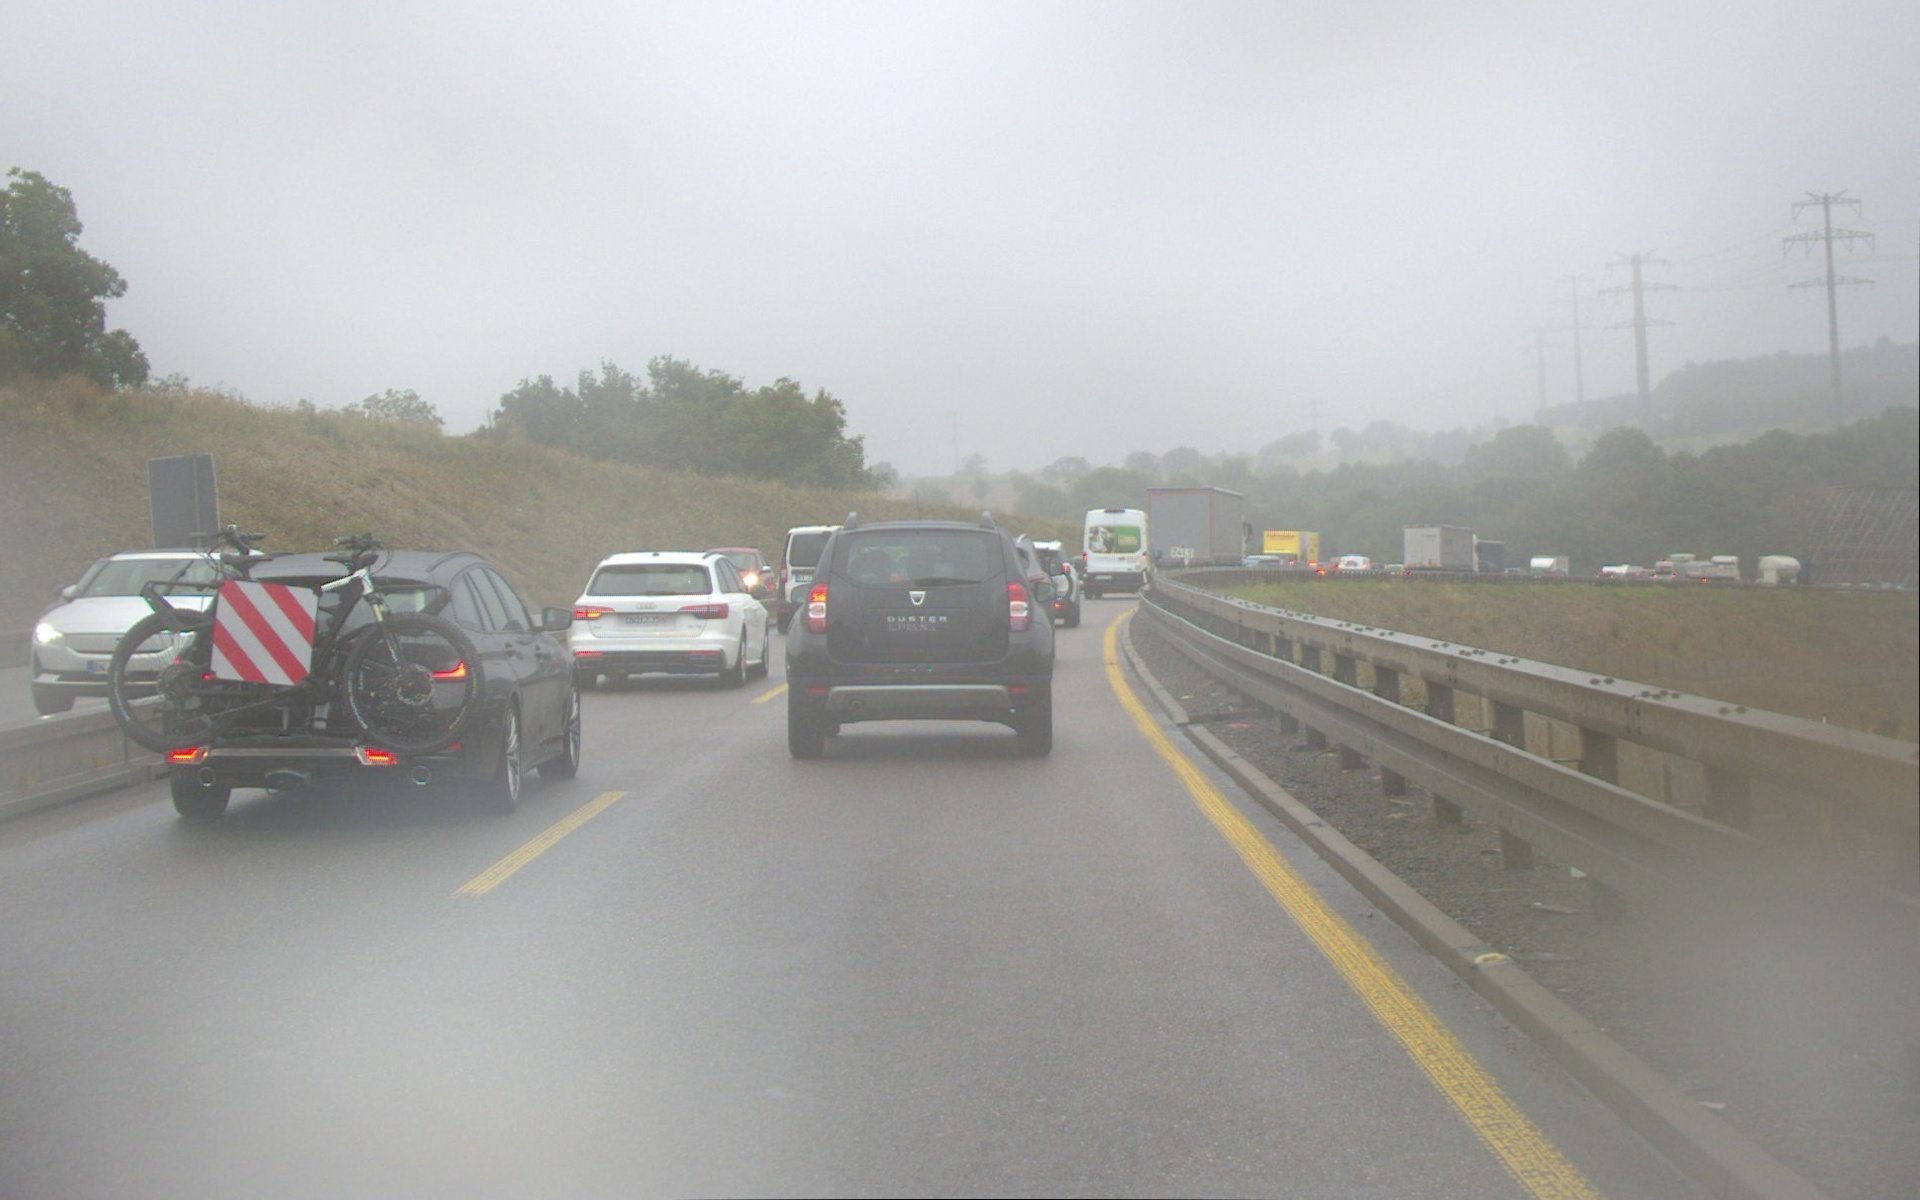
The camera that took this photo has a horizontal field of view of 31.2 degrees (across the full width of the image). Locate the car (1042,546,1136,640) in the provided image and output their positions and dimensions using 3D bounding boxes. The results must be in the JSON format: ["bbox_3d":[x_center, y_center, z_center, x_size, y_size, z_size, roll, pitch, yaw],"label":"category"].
[{"bbox_3d":[2.306,-0.150,62.339,1.530,1.635,4.013,1,1,0],"label":"car"}]

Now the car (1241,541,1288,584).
[{"bbox_3d":[13.879,-1.710,156.594,1.776,1.909,3.998,1,1,10],"label":"car"}]

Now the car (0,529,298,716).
[{"bbox_3d":[-7.457,0.145,31.668,1.877,1.495,4.335,1,2,0],"label":"car"}]

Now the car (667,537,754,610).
[{"bbox_3d":[-5.483,-0.587,75.755,1.727,1.572,3.721,0,1,-1],"label":"car"}]

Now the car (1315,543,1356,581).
[{"bbox_3d":[19.409,-1.947,177.618,1.776,1.909,3.998,1,1,10],"label":"car"}]

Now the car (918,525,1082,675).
[{"bbox_3d":[0.473,-0.028,41.685,1.867,1.703,4.000,1,1,0],"label":"car"}]

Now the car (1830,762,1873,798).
[{"bbox_3d":[51.197,10.354,197.559,1.994,1.809,3.999,0,0,9],"label":"car"}]

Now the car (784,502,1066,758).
[{"bbox_3d":[-0.176,0.174,23.924,1.804,1.640,3.776,0,1,1],"label":"car"}]

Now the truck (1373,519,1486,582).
[{"bbox_3d":[32.496,-3.415,237.312,4.722,4.135,15.668,1,1,19],"label":"truck"}]

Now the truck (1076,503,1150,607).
[{"bbox_3d":[4.780,-1.423,108.176,2.149,3.155,6.459,1,1,1],"label":"truck"}]

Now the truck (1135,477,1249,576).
[{"bbox_3d":[9.199,-2.864,135.423,3.202,3.748,8.505,1,1,12],"label":"truck"}]

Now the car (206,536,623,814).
[{"bbox_3d":[-3.084,0.380,20.160,1.829,1.471,3.776,0,1,0],"label":"car"}]

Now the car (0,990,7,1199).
[{"bbox_3d":[-3.065,0.704,5.846,1.614,1.501,4.368,-2,1,0],"label":"car"}]

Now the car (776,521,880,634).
[{"bbox_3d":[-2.261,-0.409,59.538,1.660,1.873,4.020,1,1,-1],"label":"car"}]

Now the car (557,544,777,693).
[{"bbox_3d":[-3.034,0.151,36.415,1.867,1.455,4.548,1,1,1],"label":"car"}]

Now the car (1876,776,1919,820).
[{"bbox_3d":[49.705,10.408,180.864,2.366,2.007,3.999,1,1,7],"label":"car"}]
